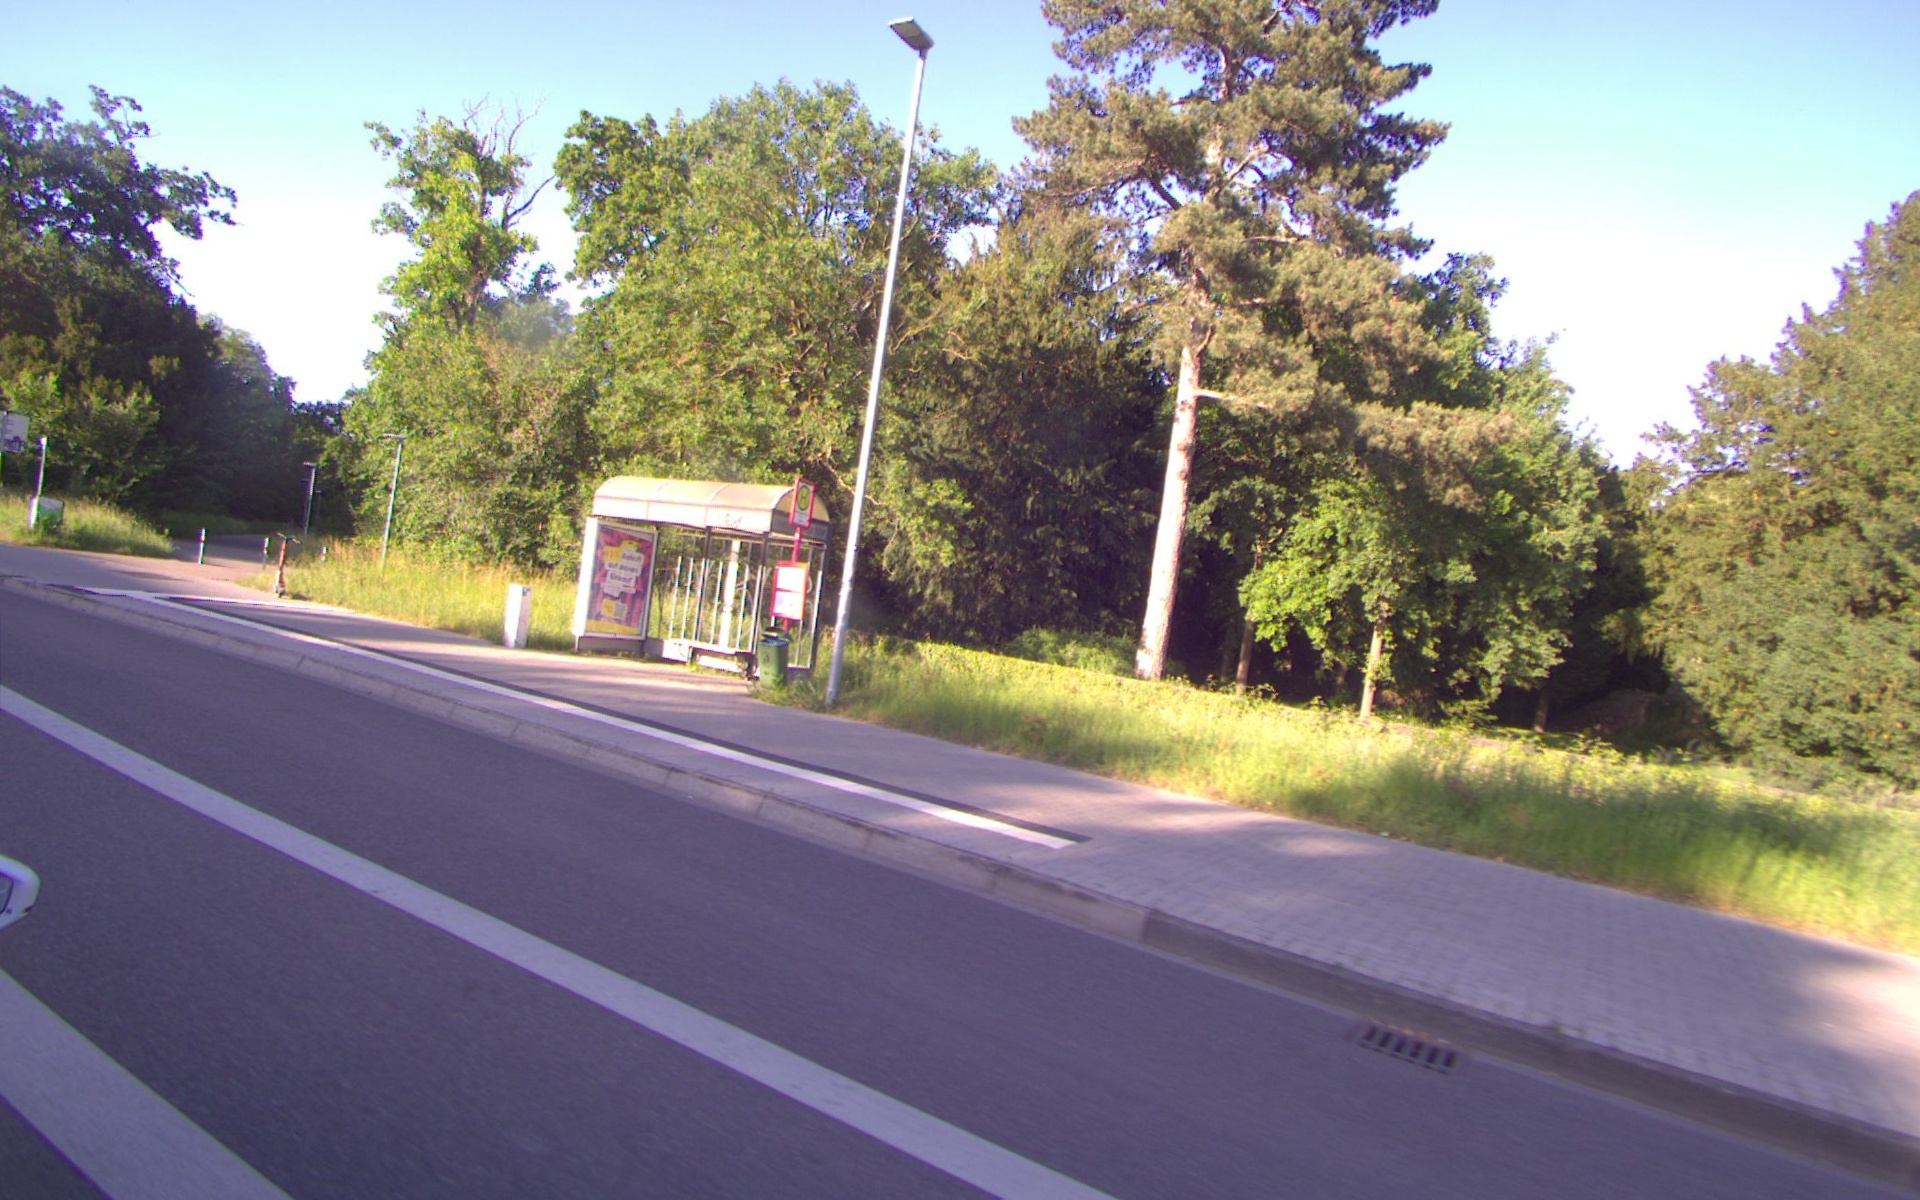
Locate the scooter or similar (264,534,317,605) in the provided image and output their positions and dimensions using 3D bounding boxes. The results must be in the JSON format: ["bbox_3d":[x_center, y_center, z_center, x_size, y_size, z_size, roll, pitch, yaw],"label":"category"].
[{"bbox_3d":[-13.227,-0.613,19.873,0.718,1.262,1.315,7,0,-35],"label":"scooter or similar"}]
